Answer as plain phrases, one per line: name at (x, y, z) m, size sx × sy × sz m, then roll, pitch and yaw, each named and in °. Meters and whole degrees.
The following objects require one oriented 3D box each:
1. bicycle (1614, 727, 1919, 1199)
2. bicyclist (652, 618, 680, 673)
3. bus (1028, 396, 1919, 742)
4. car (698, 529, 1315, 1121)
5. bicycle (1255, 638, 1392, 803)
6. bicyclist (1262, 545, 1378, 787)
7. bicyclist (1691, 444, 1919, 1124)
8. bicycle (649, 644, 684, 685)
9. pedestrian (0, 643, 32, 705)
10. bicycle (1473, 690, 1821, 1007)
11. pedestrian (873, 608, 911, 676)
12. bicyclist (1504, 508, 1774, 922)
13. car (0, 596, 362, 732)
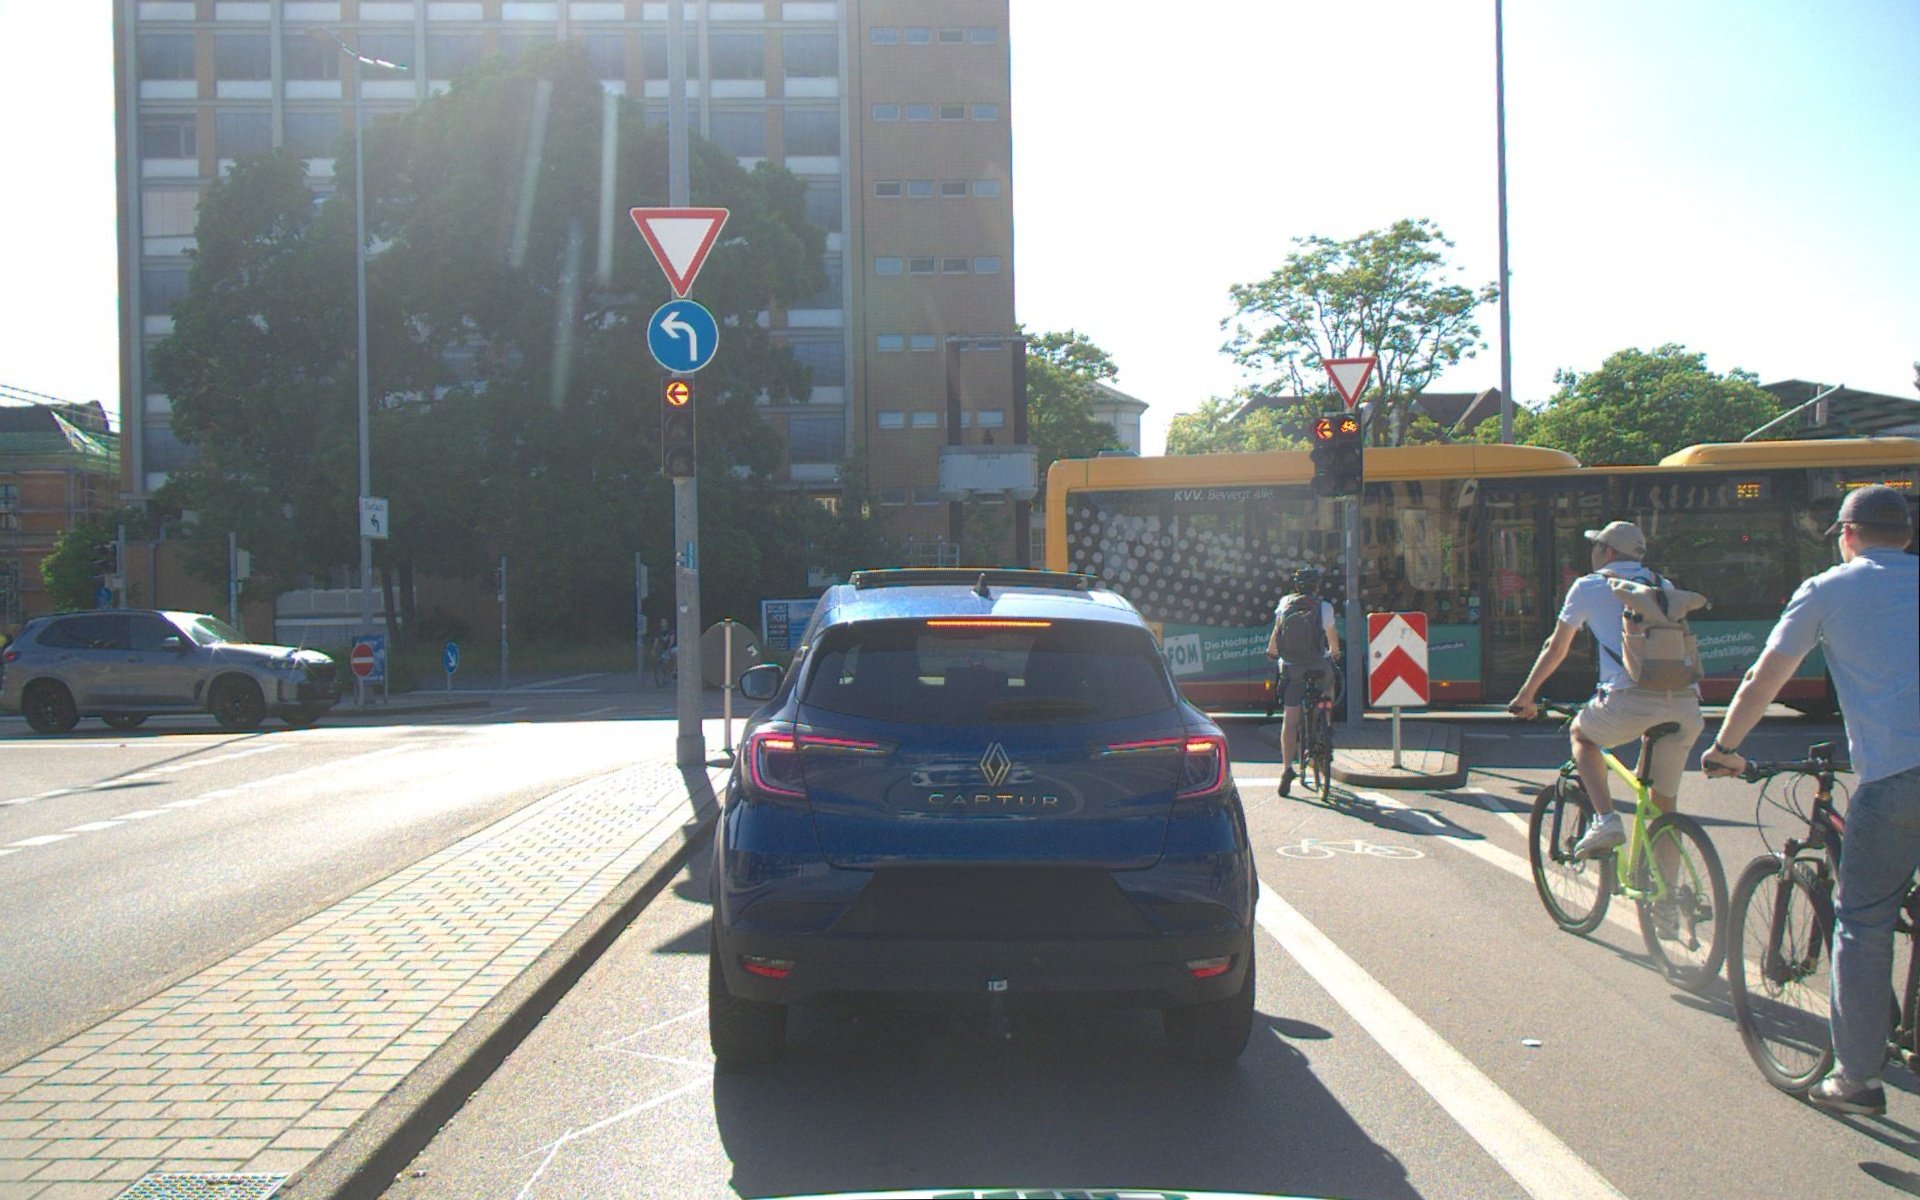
bicycle at (2.611, 0.971, 4.628) m, size 0.732 × 1.069 × 1.902 m, roll -1°, pitch 0°, yaw -2°
bicyclist at (-7.765, 1.204, 43.699) m, size 0.637 × 1.437 × 0.635 m, roll -1°, pitch -3°, yaw -17°
bus at (7.115, -0.282, 19.676) m, size 12.157 × 3.633 × 3.253 m, roll -1°, pitch 0°, yaw 13°
car at (0.083, 0.639, 6.669) m, size 1.758 × 1.684 × 3.852 m, roll 1°, pitch 0°, yaw -2°
bicycle at (2.810, 0.895, 12.955) m, size 0.602 × 1.158 × 1.825 m, roll 0°, pitch 0°, yaw -2°
bicyclist at (2.808, 0.503, 12.973) m, size 0.663 × 1.816 × 0.939 m, roll 1°, pitch -1°, yaw -2°
bicyclist at (2.609, 0.455, 4.597) m, size 0.725 × 1.703 × 0.865 m, roll -1°, pitch 0°, yaw -3°
bicycle at (-7.756, 1.711, 43.658) m, size 0.687 × 1.025 × 1.860 m, roll -1°, pitch -3°, yaw -16°
pedestrian at (-32.257, 2.508, 56.135) m, size 0.807 × 2.049 × 1.014 m, roll -1°, pitch 0°, yaw 23°
bicycle at (2.836, 0.971, 7.054) m, size 0.657 × 1.069 × 1.843 m, roll 1°, pitch 0°, yaw -2°
pedestrian at (-1.943, 1.194, 47.098) m, size 0.912 × 1.888 × 0.808 m, roll -1°, pitch 0°, yaw 8°
bicyclist at (2.843, 0.452, 7.027) m, size 0.660 × 1.610 × 1.081 m, roll 1°, pitch 0°, yaw -2°
car at (-11.667, 0.935, 24.813) m, size 4.626 × 1.893 × 2.006 m, roll -1°, pitch 0°, yaw 8°
